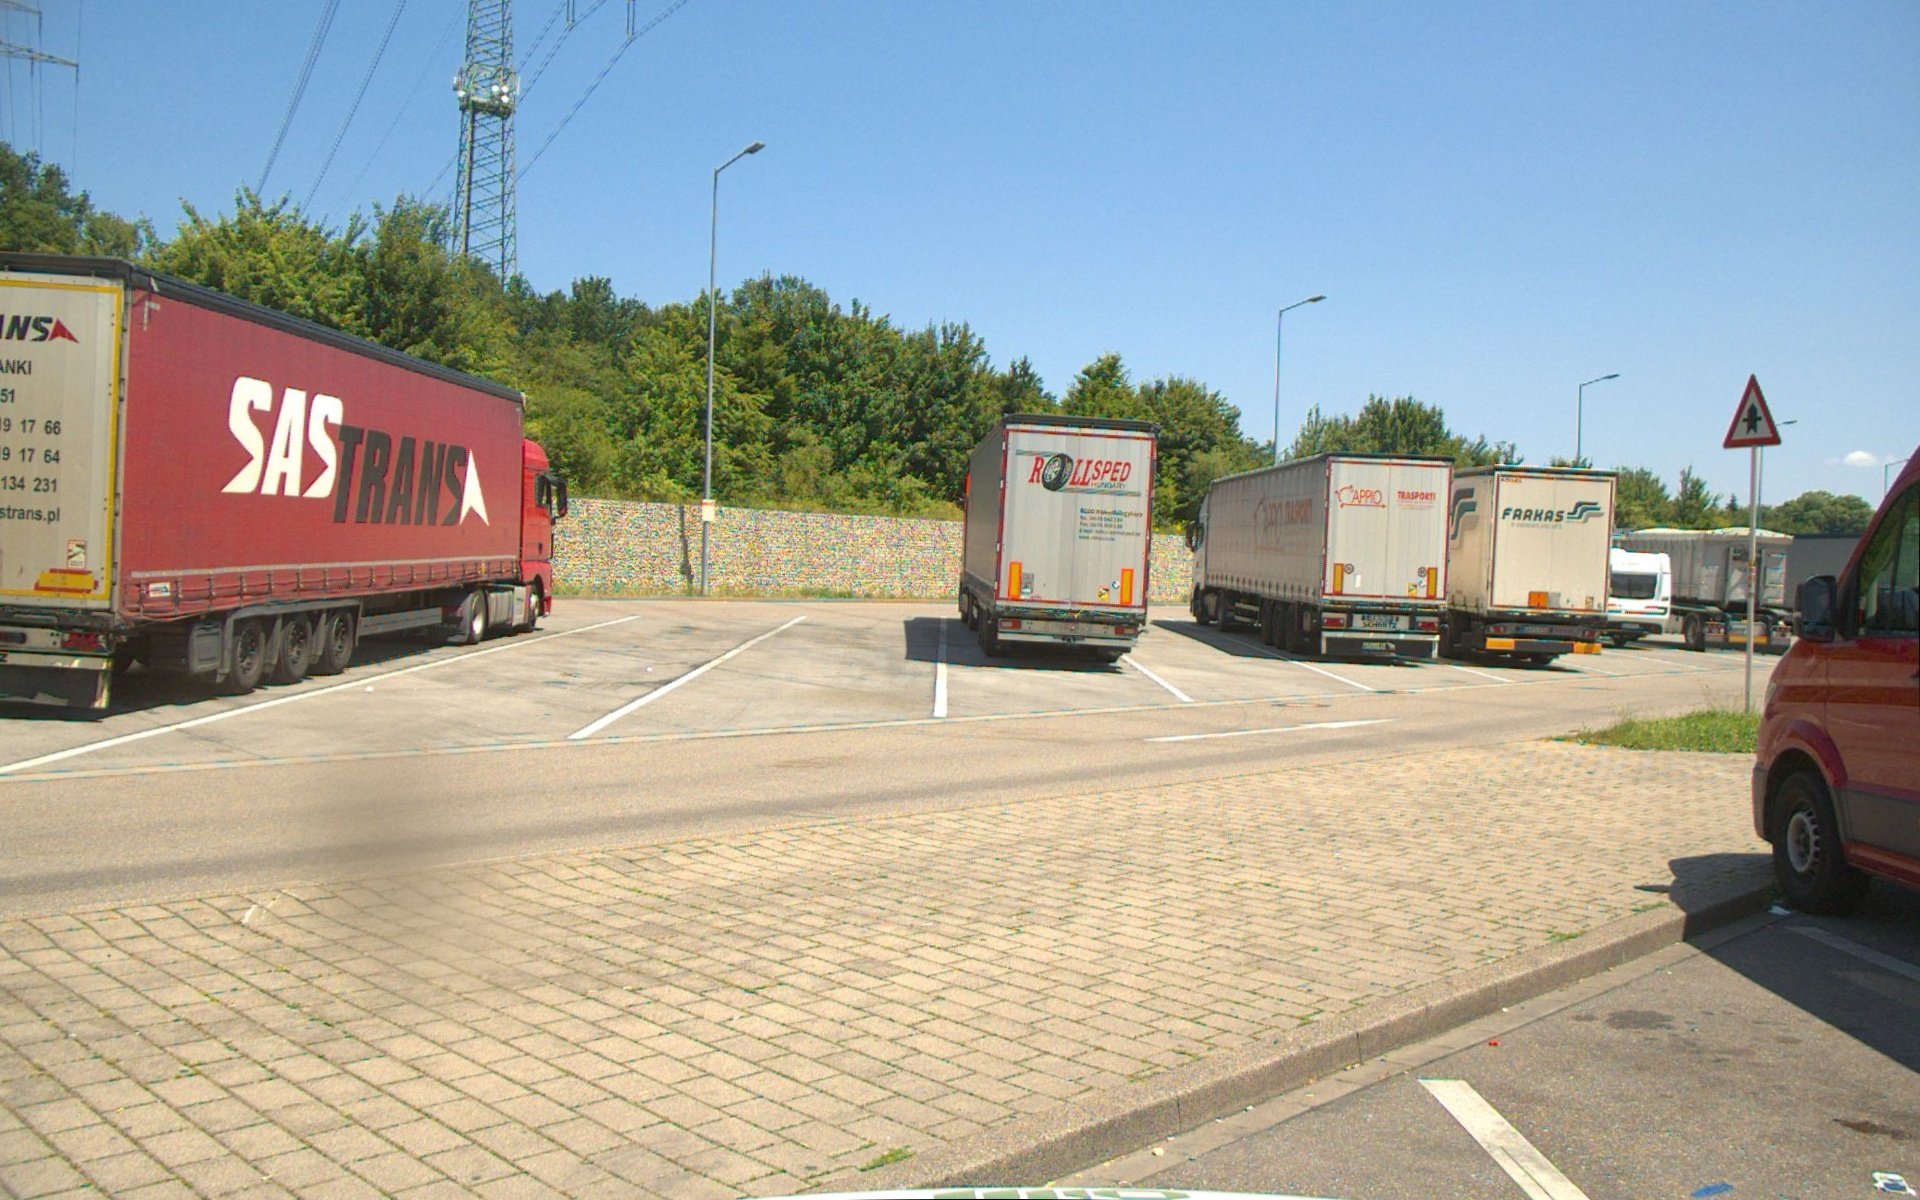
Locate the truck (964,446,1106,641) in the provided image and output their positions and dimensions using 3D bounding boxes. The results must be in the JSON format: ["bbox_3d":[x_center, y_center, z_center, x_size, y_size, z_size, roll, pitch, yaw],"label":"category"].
[{"bbox_3d":[1.577,-1.244,37.814,2.813,4.050,6.028,1,1,-1],"label":"truck"}]

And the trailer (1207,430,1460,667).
[{"bbox_3d":[8.175,-1.105,38.349,2.627,4.530,12.826,1,1,-1],"label":"trailer"}]

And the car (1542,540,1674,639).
[{"bbox_3d":[18.235,-0.281,46.742,2.072,2.645,3.999,1,0,-1],"label":"car"}]

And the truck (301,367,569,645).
[{"bbox_3d":[-8.725,-1.491,28.244,2.749,4.205,5.893,1,1,-1],"label":"truck"}]

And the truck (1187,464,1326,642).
[{"bbox_3d":[8.021,-1.257,45.444,2.607,4.530,5.863,1,1,-1],"label":"truck"}]

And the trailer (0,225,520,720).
[{"bbox_3d":[-8.638,-1.236,20.989,2.743,4.293,13.200,1,1,-1],"label":"trailer"}]

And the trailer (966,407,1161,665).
[{"bbox_3d":[1.682,-1.131,32.141,2.838,4.083,11.315,1,1,-1],"label":"trailer"}]

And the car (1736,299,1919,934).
[{"bbox_3d":[4.966,0.102,5.565,1.952,2.679,6.385,1,1,3],"label":"car"}]

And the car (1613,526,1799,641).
[{"bbox_3d":[21.700,-0.511,48.500,2.448,3.128,6.350,1,1,-1],"label":"car"}]

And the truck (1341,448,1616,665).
[{"bbox_3d":[11.716,-0.843,38.948,2.534,4.299,11.967,1,0,-1],"label":"truck"}]
